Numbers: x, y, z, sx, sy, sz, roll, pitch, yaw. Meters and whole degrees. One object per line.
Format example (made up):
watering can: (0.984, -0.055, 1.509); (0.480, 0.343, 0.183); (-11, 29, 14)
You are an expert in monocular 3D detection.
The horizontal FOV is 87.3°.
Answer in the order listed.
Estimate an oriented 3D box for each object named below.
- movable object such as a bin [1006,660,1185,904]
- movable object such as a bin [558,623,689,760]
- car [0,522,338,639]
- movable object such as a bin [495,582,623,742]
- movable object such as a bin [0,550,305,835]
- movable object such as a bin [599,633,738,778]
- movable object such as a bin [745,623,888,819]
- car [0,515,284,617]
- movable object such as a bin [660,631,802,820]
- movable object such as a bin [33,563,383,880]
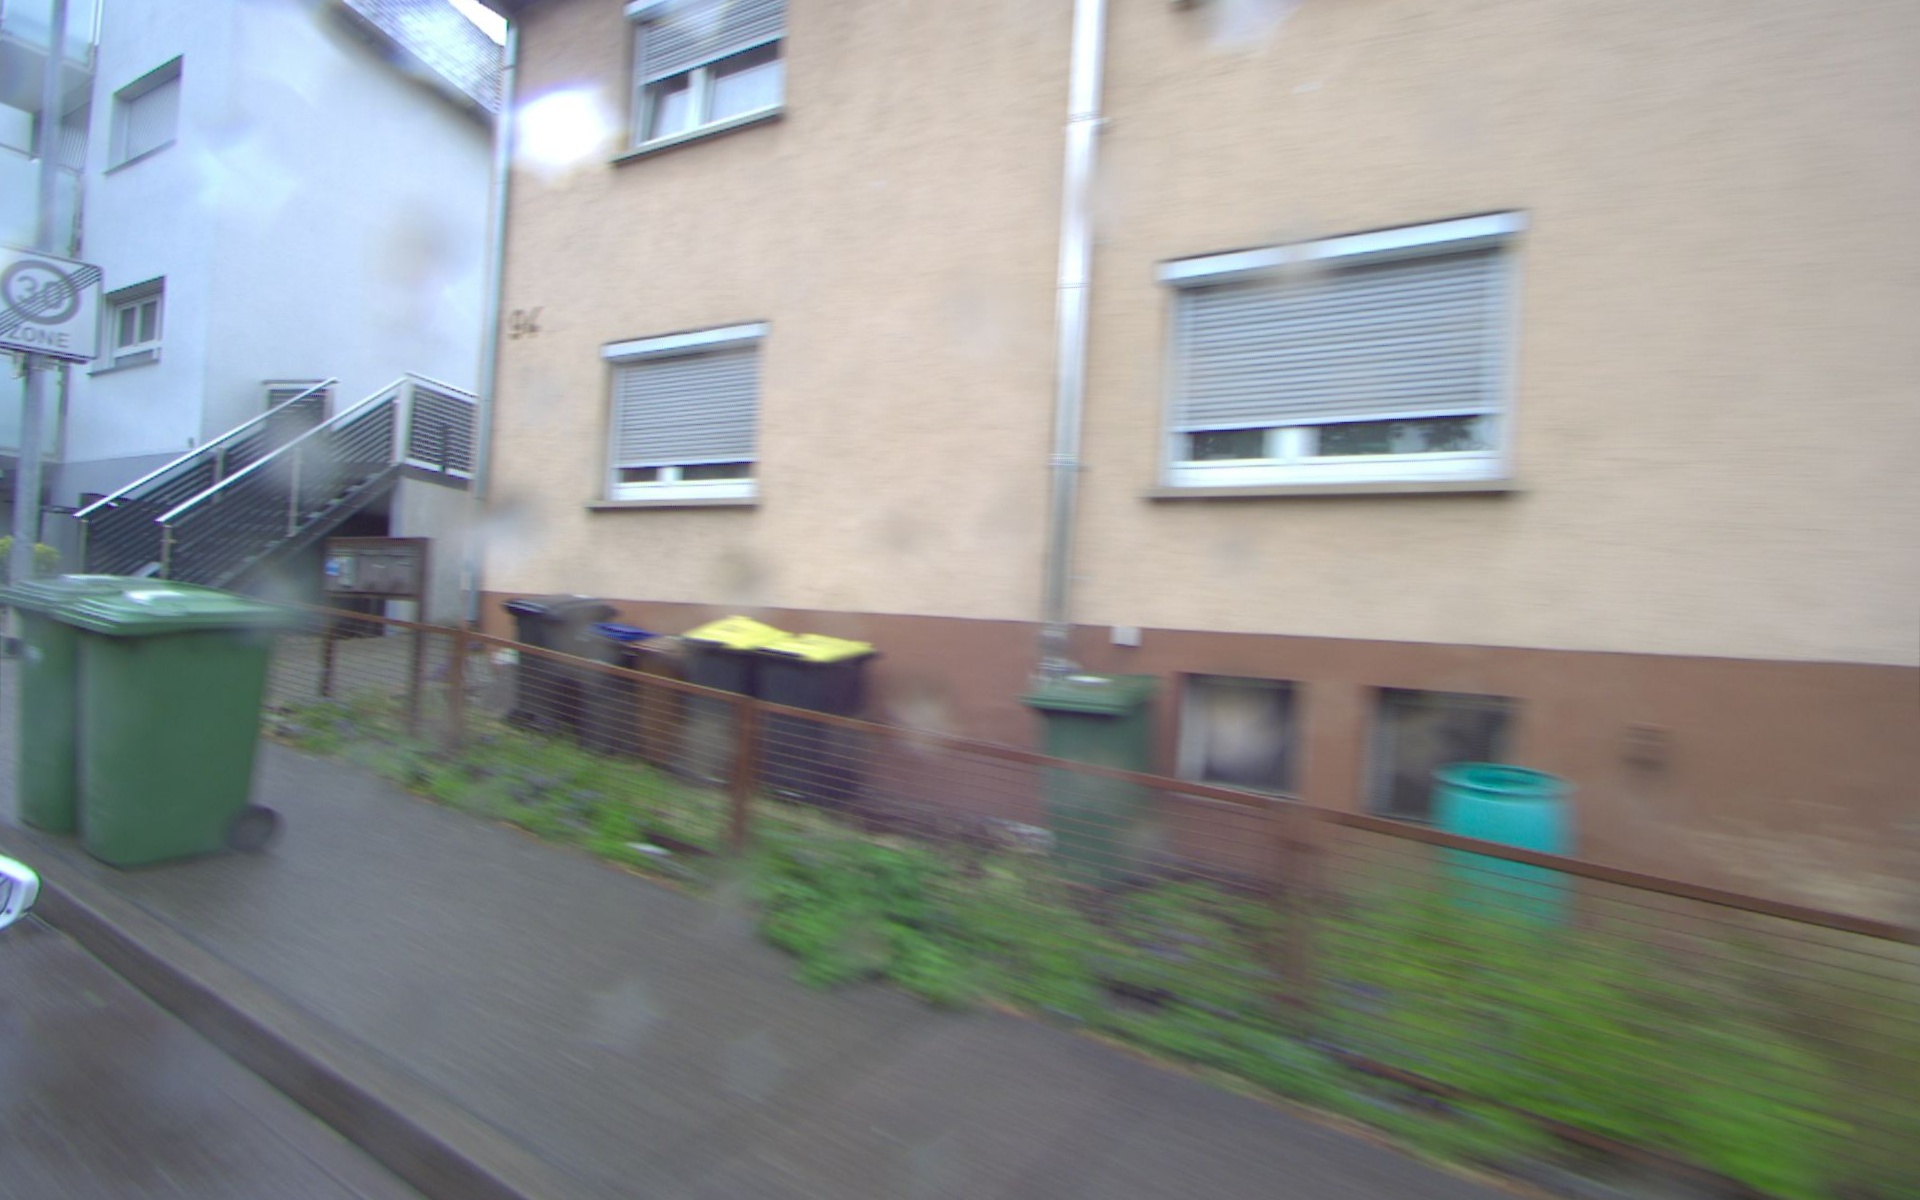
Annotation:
movable object such as a bin: (0.731, 0.920, 5.360); (0.645, 1.108, 0.660); (7, 3, 30)
movable object such as a bin: (-2.478, 0.671, 7.434); (0.527, 0.906, 0.638); (7, 0, 31)
car: (-13.296, -0.240, 16.897); (1.727, 1.460, 4.476); (3, -3, 31)
movable object such as a bin: (-3.044, 0.450, 7.655); (0.536, 1.108, 0.660); (7, 4, 30)
movable object such as a bin: (-3.751, 0.408, 4.651); (0.691, 1.116, 0.915); (7, -1, 34)
movable object such as a bin: (-2.046, 0.734, 7.106); (0.527, 0.906, 0.670); (7, 0, 31)
movable object such as a bin: (-0.900, 0.726, 6.359); (0.536, 1.108, 0.644); (7, 4, 30)
car: (-14.998, -0.573, 18.401); (1.653, 1.320, 3.980); (7, -1, 30)
movable object such as a bin: (-1.501, 0.790, 6.632); (0.536, 1.108, 0.660); (7, 4, 30)
movable object such as a bin: (-3.141, 0.478, 4.245); (0.691, 1.116, 0.915); (7, -1, 34)
